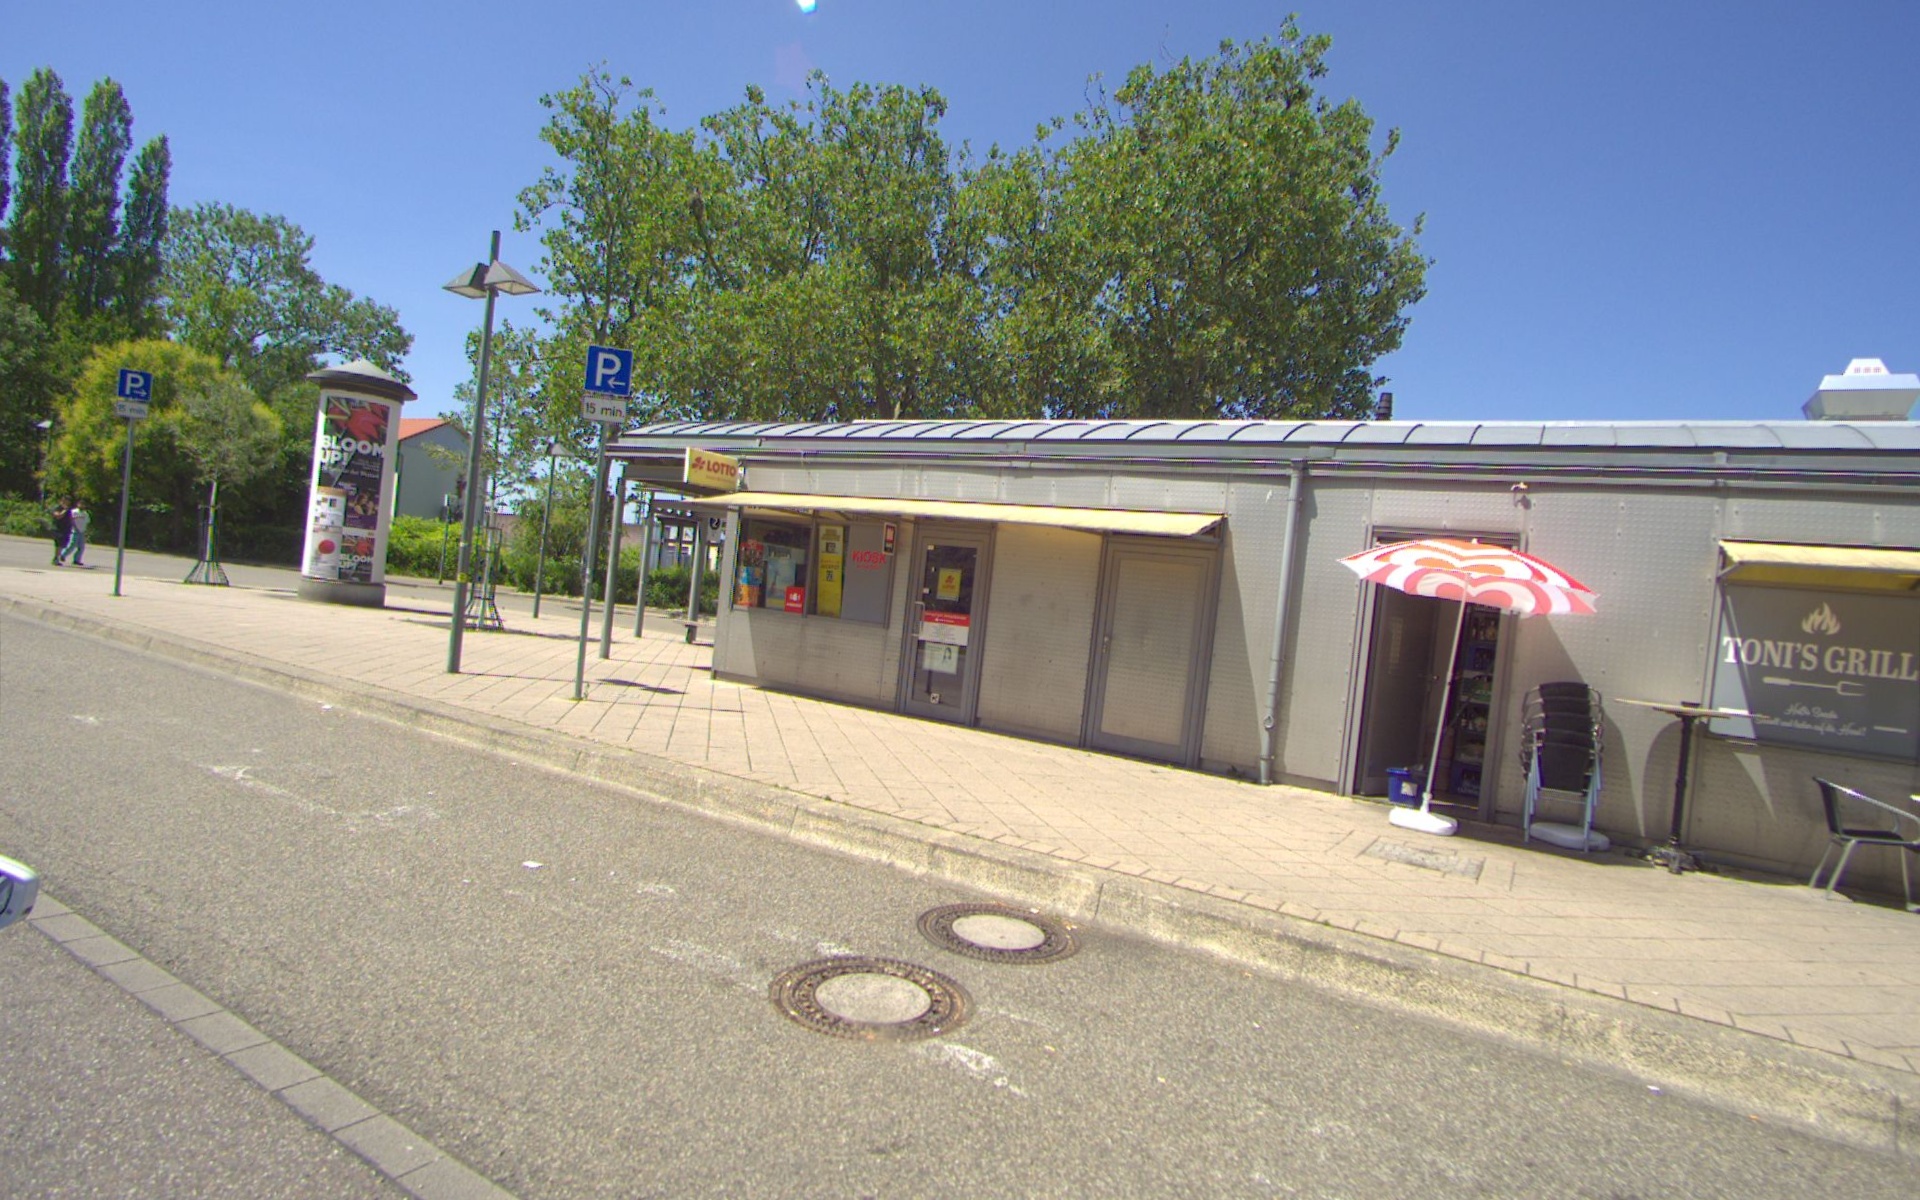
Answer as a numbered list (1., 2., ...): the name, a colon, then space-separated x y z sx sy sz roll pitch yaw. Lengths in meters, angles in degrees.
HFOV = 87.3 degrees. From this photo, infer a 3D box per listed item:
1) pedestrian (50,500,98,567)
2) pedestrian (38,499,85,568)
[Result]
1. pedestrian: -23.700 -1.757 26.920 0.715 1.669 0.745 6 -2 -31
2. pedestrian: -23.102 -1.700 25.874 0.630 1.669 0.745 6 -2 -31
